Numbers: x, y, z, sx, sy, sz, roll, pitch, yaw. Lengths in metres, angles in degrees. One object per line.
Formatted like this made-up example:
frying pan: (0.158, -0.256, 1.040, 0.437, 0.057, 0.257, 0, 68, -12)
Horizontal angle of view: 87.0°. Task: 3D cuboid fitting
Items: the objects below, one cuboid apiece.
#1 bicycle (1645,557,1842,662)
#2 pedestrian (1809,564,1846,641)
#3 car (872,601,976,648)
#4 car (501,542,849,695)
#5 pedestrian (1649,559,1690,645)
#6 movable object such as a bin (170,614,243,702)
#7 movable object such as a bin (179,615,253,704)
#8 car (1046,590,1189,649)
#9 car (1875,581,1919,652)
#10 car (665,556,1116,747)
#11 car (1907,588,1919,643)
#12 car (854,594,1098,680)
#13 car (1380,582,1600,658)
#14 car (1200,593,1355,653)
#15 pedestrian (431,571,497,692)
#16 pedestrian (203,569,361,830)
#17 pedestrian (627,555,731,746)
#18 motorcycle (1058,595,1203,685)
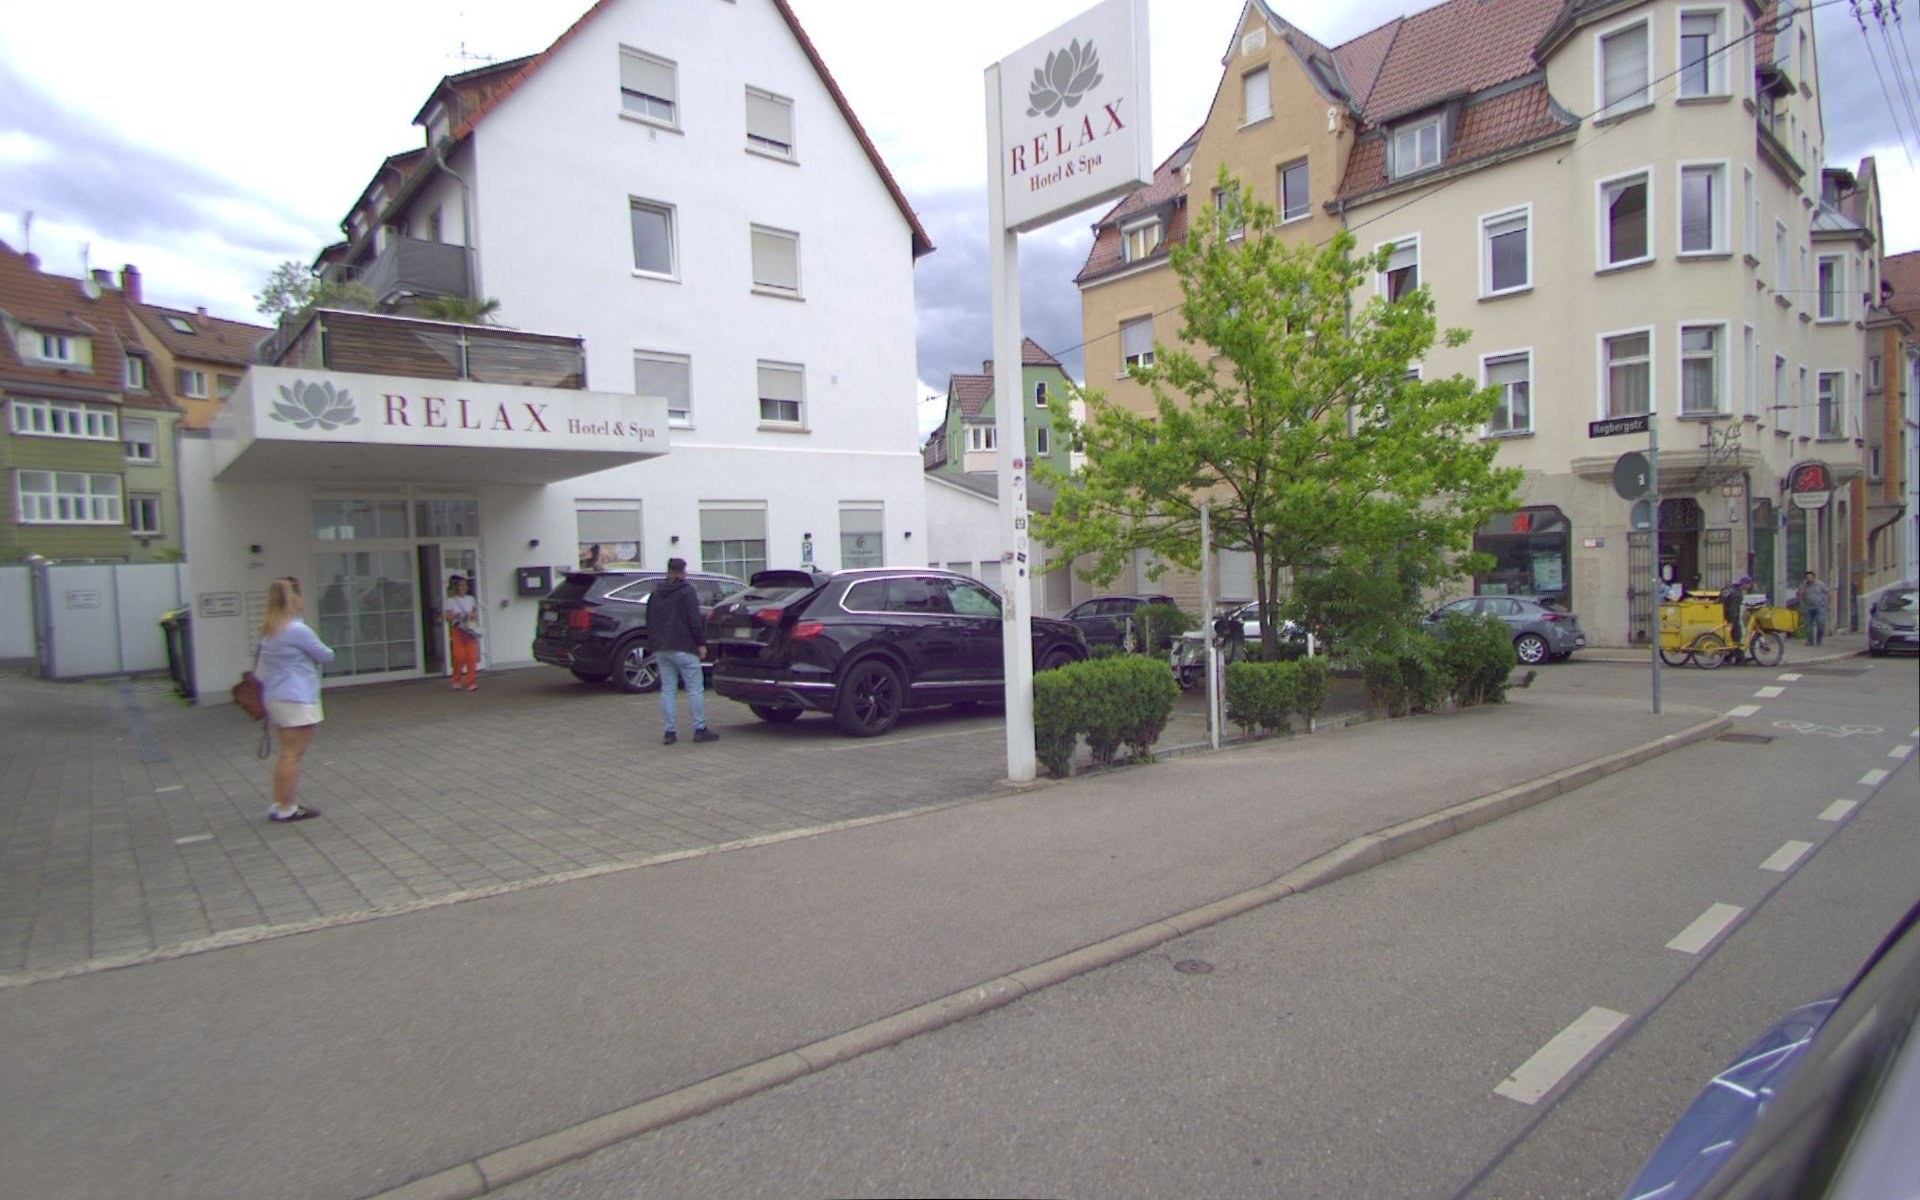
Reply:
bicycle: (14.501, 0.170, 18.808, 2.677, 1.890, 1.182, 0, -1, 1)
pedestrian: (21.032, 0.050, 24.528, 0.621, 1.826, 0.600, 0, 0, -41)
car: (-1.367, 0.880, 36.779, 1.554, 1.601, 3.978, 0, -1, -43)
car: (-4.118, 0.222, 15.113, 4.625, 1.935, 1.995, 0, 0, -43)
pedestrian: (15.052, 0.037, 21.480, 0.482, 1.790, 0.485, 0, 0, -8)
movable object such as a bin: (-11.324, 0.854, 15.215, 0.515, 1.196, 0.701, -1, 5, 43)
movable object such as a bin: (-10.907, 0.852, 14.842, 0.515, 1.196, 0.701, -1, 5, 43)
car: (4.476, 0.545, 29.172, 1.554, 1.601, 3.978, 0, -1, -43)
car: (22.702, 0.345, 23.561, 4.498, 1.557, 1.736, 0, -2, -44)
car: (-0.571, 0.443, 11.503, 5.010, 1.704, 1.995, -1, 0, -43)
car: (26.675, 0.366, 26.937, 4.612, 1.408, 1.781, 0, -2, -43)
car: (0.378, 0.647, 18.229, 4.251, 1.371, 1.912, 2, -2, -43)
car: (11.217, 0.406, 21.597, 1.554, 1.482, 3.850, 0, -1, -43)
car: (7.966, 0.556, 25.581, 1.554, 1.406, 3.436, 0, -1, -43)
pedestrian: (-7.139, 0.436, 14.572, 0.696, 1.676, 0.762, 0, 0, -40)
pedestrian: (-4.434, 0.607, 6.644, 0.554, 1.602, 0.680, 0, 0, 23)
pedestrian: (-2.688, 0.453, 9.674, 0.754, 1.729, 0.646, 0, 0, -41)
motorcycle: (2.657, 0.575, 15.596, 2.346, 1.118, 0.928, -6, 3, -43)
